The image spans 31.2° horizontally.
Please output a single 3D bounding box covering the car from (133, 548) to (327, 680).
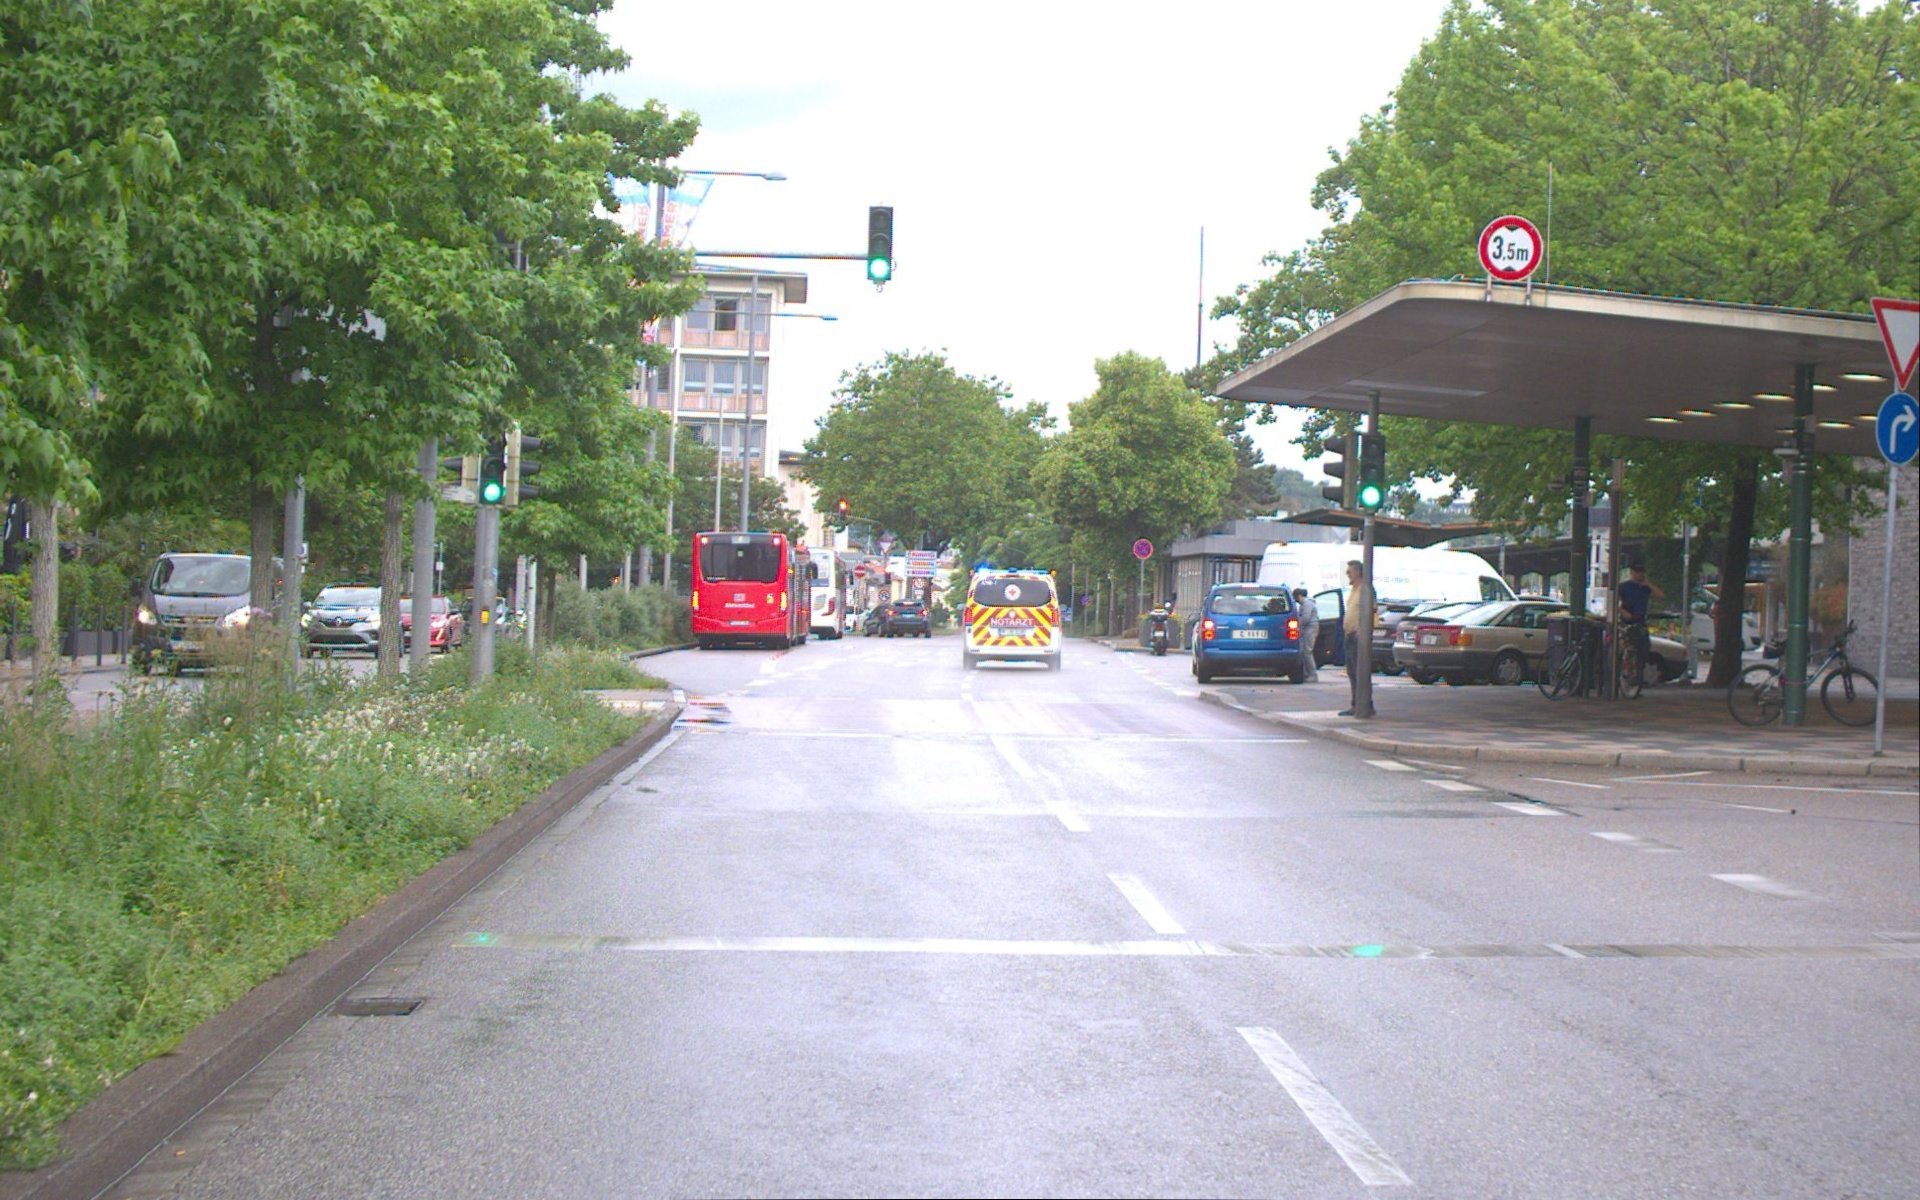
[{"bbox_3d":[-11.642,0.222,55.160,1.993,2.007,5.001,-1,0,0],"label":"car"}]

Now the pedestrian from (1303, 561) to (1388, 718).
[{"bbox_3d":[4.332,0.447,38.673,0.746,1.741,0.836,0,-1,-9],"label":"pedestrian"}]

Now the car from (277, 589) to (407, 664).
[{"bbox_3d":[-13.212,0.559,73.726,1.993,1.538,4.633,-1,0,-1],"label":"car"}]

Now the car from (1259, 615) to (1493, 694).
[{"bbox_3d":[7.827,1.033,64.633,3.986,1.438,1.865,1,-1,-27],"label":"car"}]

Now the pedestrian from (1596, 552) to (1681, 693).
[{"bbox_3d":[8.896,0.297,45.090,0.856,1.829,1.190,0,-1,-1],"label":"pedestrian"}]

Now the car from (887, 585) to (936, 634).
[{"bbox_3d":[-2.035,0.391,144.321,1.993,2.007,4.000,-1,0,-1],"label":"car"}]

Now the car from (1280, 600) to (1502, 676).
[{"bbox_3d":[8.539,0.759,68.088,3.986,1.438,1.865,1,-1,-27],"label":"car"}]

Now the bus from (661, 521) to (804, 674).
[{"bbox_3d":[-6.199,-0.063,95.580,3.544,3.966,11.172,-1,0,-2],"label":"bus"}]

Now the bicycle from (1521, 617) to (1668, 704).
[{"bbox_3d":[7.916,0.744,42.877,1.827,1.052,0.420,-1,0,-19],"label":"bicycle"}]

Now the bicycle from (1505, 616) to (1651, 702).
[{"bbox_3d":[7.795,0.738,43.324,1.827,1.052,0.420,-1,0,-19],"label":"bicycle"}]

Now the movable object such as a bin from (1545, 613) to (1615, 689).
[{"bbox_3d":[8.780,0.717,48.690,0.751,1.063,0.749,-1,0,-10],"label":"movable object such as a bin"}]

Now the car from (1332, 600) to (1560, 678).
[{"bbox_3d":[9.320,0.748,65.899,3.986,1.438,1.865,1,-1,-27],"label":"car"}]

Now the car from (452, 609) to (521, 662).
[{"bbox_3d":[-14.130,1.048,102.778,1.597,1.526,3.653,-1,0,-1],"label":"car"}]

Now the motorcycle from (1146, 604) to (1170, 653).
[{"bbox_3d":[5.250,0.743,90.986,0.595,1.284,1.953,0,0,4],"label":"motorcycle"}]

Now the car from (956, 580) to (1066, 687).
[{"bbox_3d":[0.968,0.640,67.686,1.993,2.007,5.062,-1,0,-1],"label":"car"}]

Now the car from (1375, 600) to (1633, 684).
[{"bbox_3d":[9.085,0.710,57.348,3.987,1.354,1.865,1,-1,-31],"label":"car"}]

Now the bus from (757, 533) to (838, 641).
[{"bbox_3d":[-5.922,-0.437,125.036,2.805,3.734,10.446,0,0,-3],"label":"bus"}]

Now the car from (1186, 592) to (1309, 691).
[{"bbox_3d":[4.709,0.677,56.742,1.859,1.564,3.999,1,-1,3],"label":"car"}]

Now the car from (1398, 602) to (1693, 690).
[{"bbox_3d":[9.139,0.726,53.682,4.184,1.321,1.840,1,-1,-21],"label":"car"}]

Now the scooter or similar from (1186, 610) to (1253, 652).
[{"bbox_3d":[7.082,0.843,93.725,2.145,1.106,0.427,0,0,-40],"label":"scooter or similar"}]

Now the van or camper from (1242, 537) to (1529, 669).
[{"bbox_3d":[9.195,0.044,74.151,5.946,2.753,2.199,-1,0,-28],"label":"van or camper"}]

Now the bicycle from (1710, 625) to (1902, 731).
[{"bbox_3d":[8.486,0.782,34.510,1.827,1.052,0.420,0,0,-1],"label":"bicycle"}]

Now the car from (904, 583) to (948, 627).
[{"bbox_3d":[-1.593,0.242,159.815,1.993,2.007,4.000,-1,0,-1],"label":"car"}]

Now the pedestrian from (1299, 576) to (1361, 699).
[{"bbox_3d":[6.126,0.613,56.994,0.831,2.007,0.889,-1,0,-5],"label":"pedestrian"}]

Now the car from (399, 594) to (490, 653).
[{"bbox_3d":[-12.896,0.591,86.166,1.747,1.425,3.953,-1,0,-1],"label":"car"}]
